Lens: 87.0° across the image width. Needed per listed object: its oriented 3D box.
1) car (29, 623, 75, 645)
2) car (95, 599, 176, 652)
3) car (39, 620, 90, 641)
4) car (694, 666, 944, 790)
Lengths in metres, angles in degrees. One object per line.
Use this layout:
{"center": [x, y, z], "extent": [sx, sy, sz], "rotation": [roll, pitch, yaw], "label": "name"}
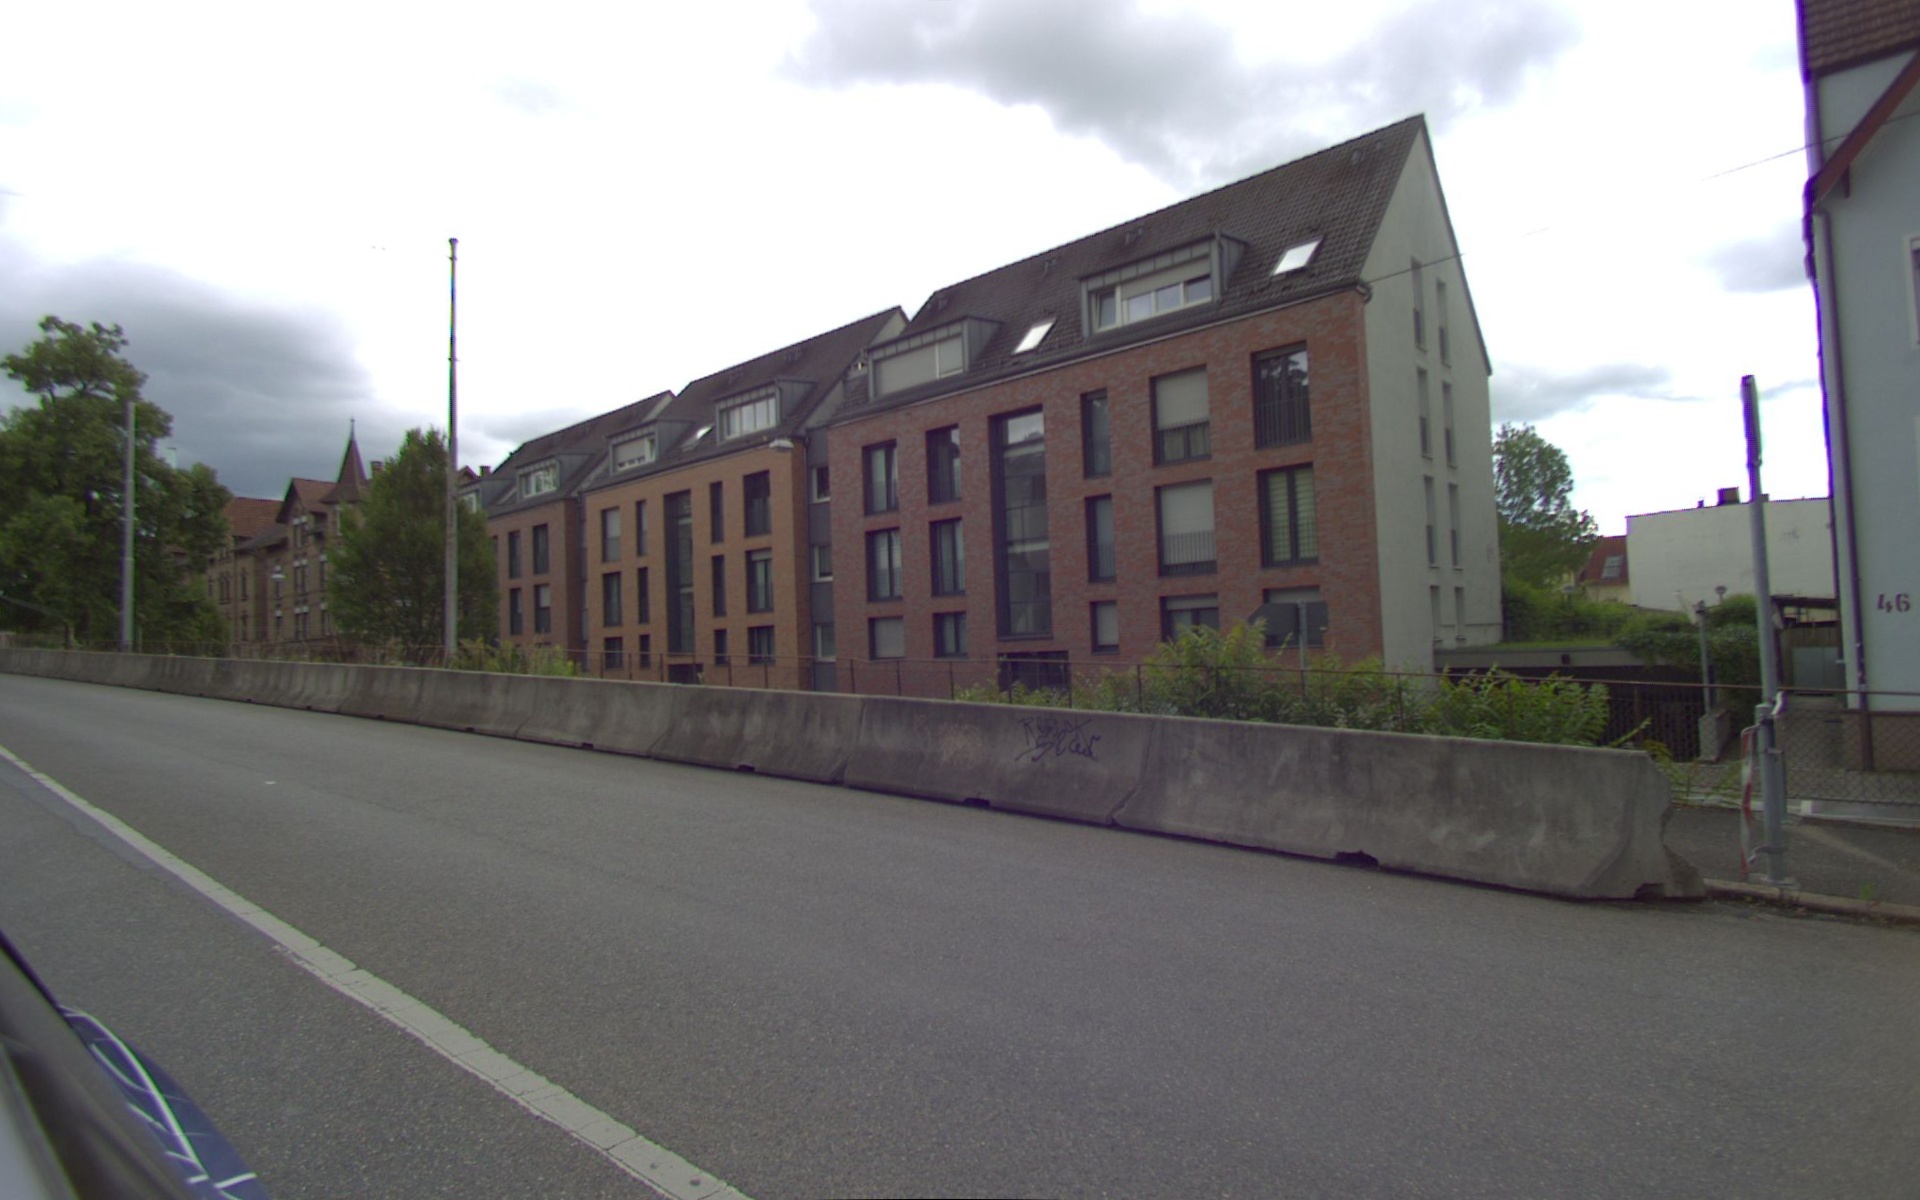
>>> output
{"center": [-66.487, 2.478, 74.108], "extent": [3.997, 1.564, 1.973], "rotation": [-1, -1, 40], "label": "car"}
{"center": [-43.745, 1.290, 53.636], "extent": [5.736, 2.601, 2.531], "rotation": [0, 1, 43], "label": "car"}
{"center": [-58.959, 2.024, 66.621], "extent": [3.997, 1.364, 1.973], "rotation": [-1, -2, 40], "label": "car"}
{"center": [-2.277, 1.879, 15.740], "extent": [3.996, 1.525, 1.519], "rotation": [-2, -1, 39], "label": "car"}
